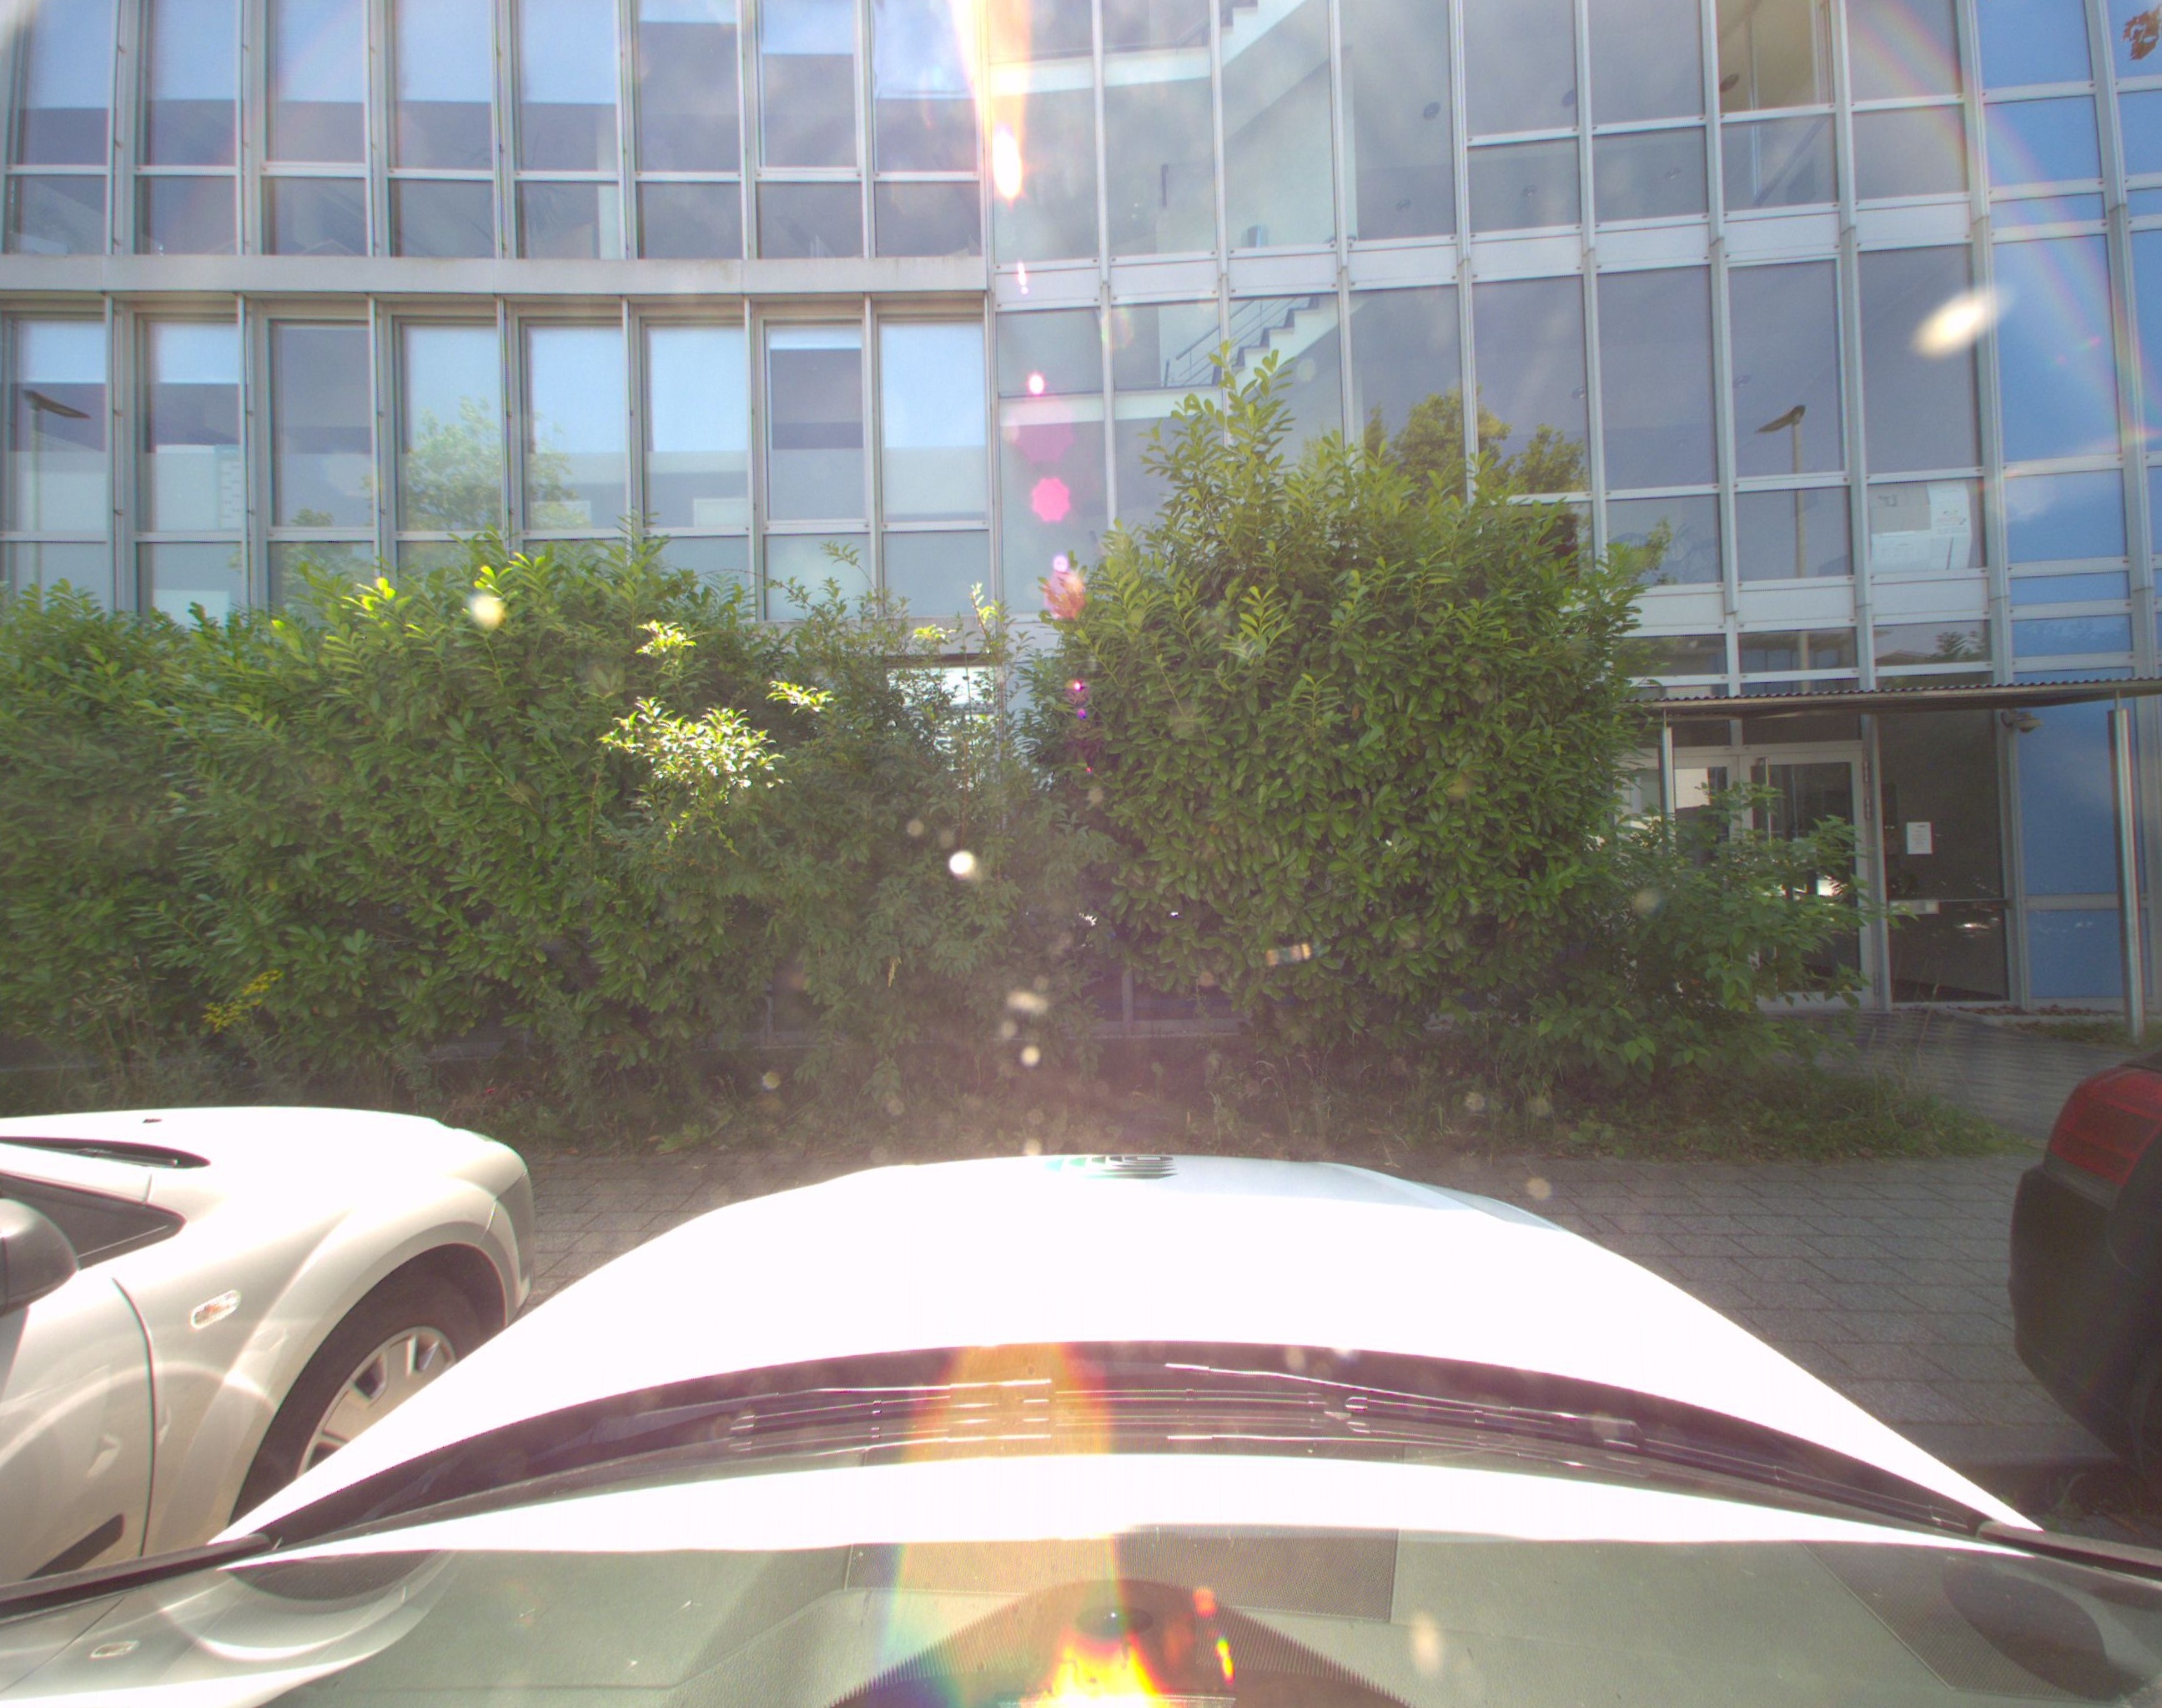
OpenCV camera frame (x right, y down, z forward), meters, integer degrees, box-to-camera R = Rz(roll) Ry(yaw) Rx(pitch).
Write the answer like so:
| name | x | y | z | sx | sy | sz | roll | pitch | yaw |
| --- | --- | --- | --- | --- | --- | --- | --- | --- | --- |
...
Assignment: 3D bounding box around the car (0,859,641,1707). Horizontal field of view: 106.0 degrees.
| name | x | y | z | sx | sy | sz | roll | pitch | yaw |
| --- | --- | --- | --- | --- | --- | --- | --- | --- | --- |
| car | -2.194 | 0.761 | 0.253 | 1.713 | 1.479 | 4.348 | 0 | 0 | 0 |
